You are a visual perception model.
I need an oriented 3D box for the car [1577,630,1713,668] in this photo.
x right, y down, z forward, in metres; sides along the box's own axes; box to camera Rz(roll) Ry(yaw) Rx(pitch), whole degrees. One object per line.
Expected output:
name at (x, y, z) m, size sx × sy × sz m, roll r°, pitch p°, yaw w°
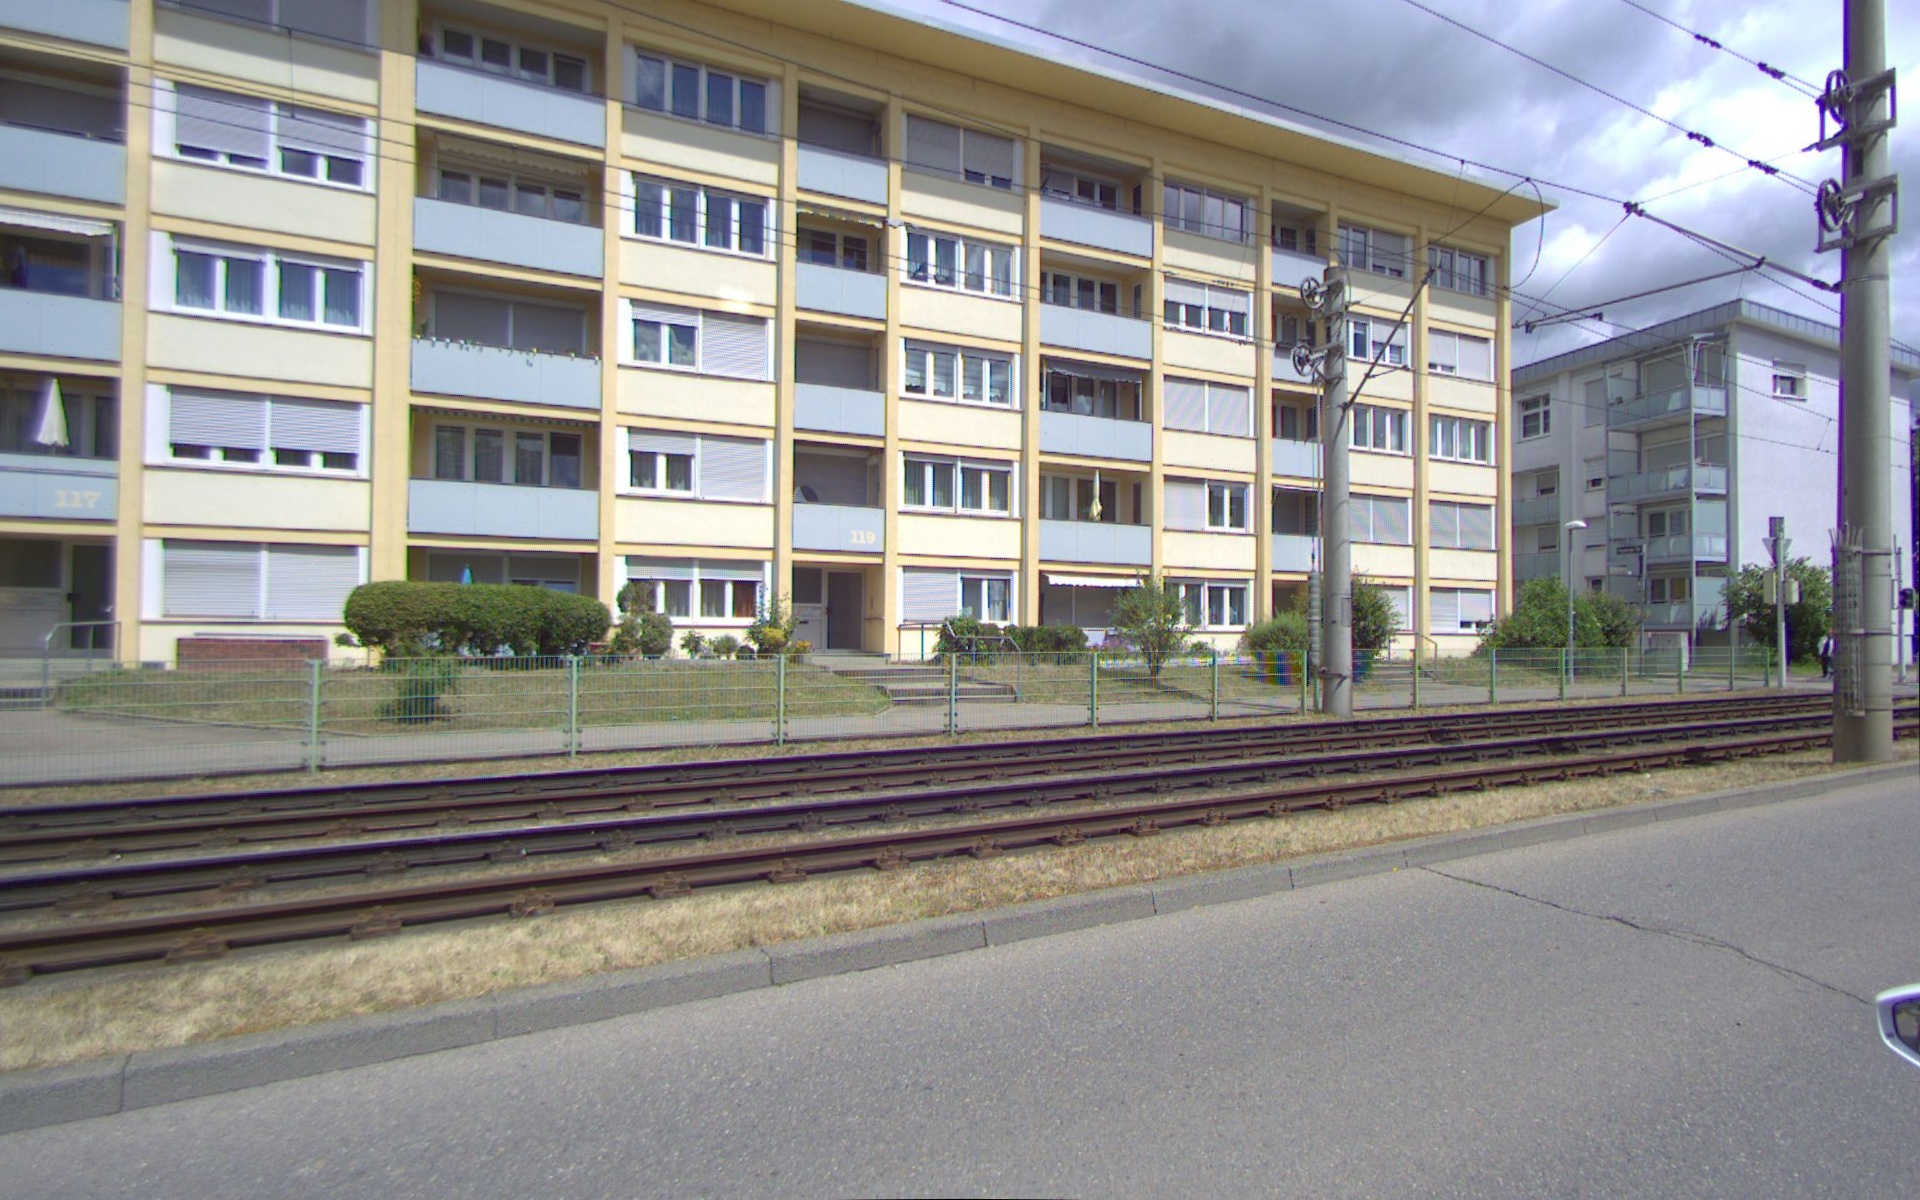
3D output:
car at (26.346, 1.840, 38.782) m, size 1.873 × 1.363 × 3.980 m, roll 1°, pitch -2°, yaw -21°

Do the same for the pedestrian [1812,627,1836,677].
pedestrian at (28.127, 1.693, 32.708) m, size 0.468 × 1.601 × 0.436 m, roll 1°, pitch -1°, yaw -25°

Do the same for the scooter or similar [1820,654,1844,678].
scooter or similar at (27.980, 2.106, 32.223) m, size 0.468 × 0.757 × 0.436 m, roll 1°, pitch -1°, yaw -25°
